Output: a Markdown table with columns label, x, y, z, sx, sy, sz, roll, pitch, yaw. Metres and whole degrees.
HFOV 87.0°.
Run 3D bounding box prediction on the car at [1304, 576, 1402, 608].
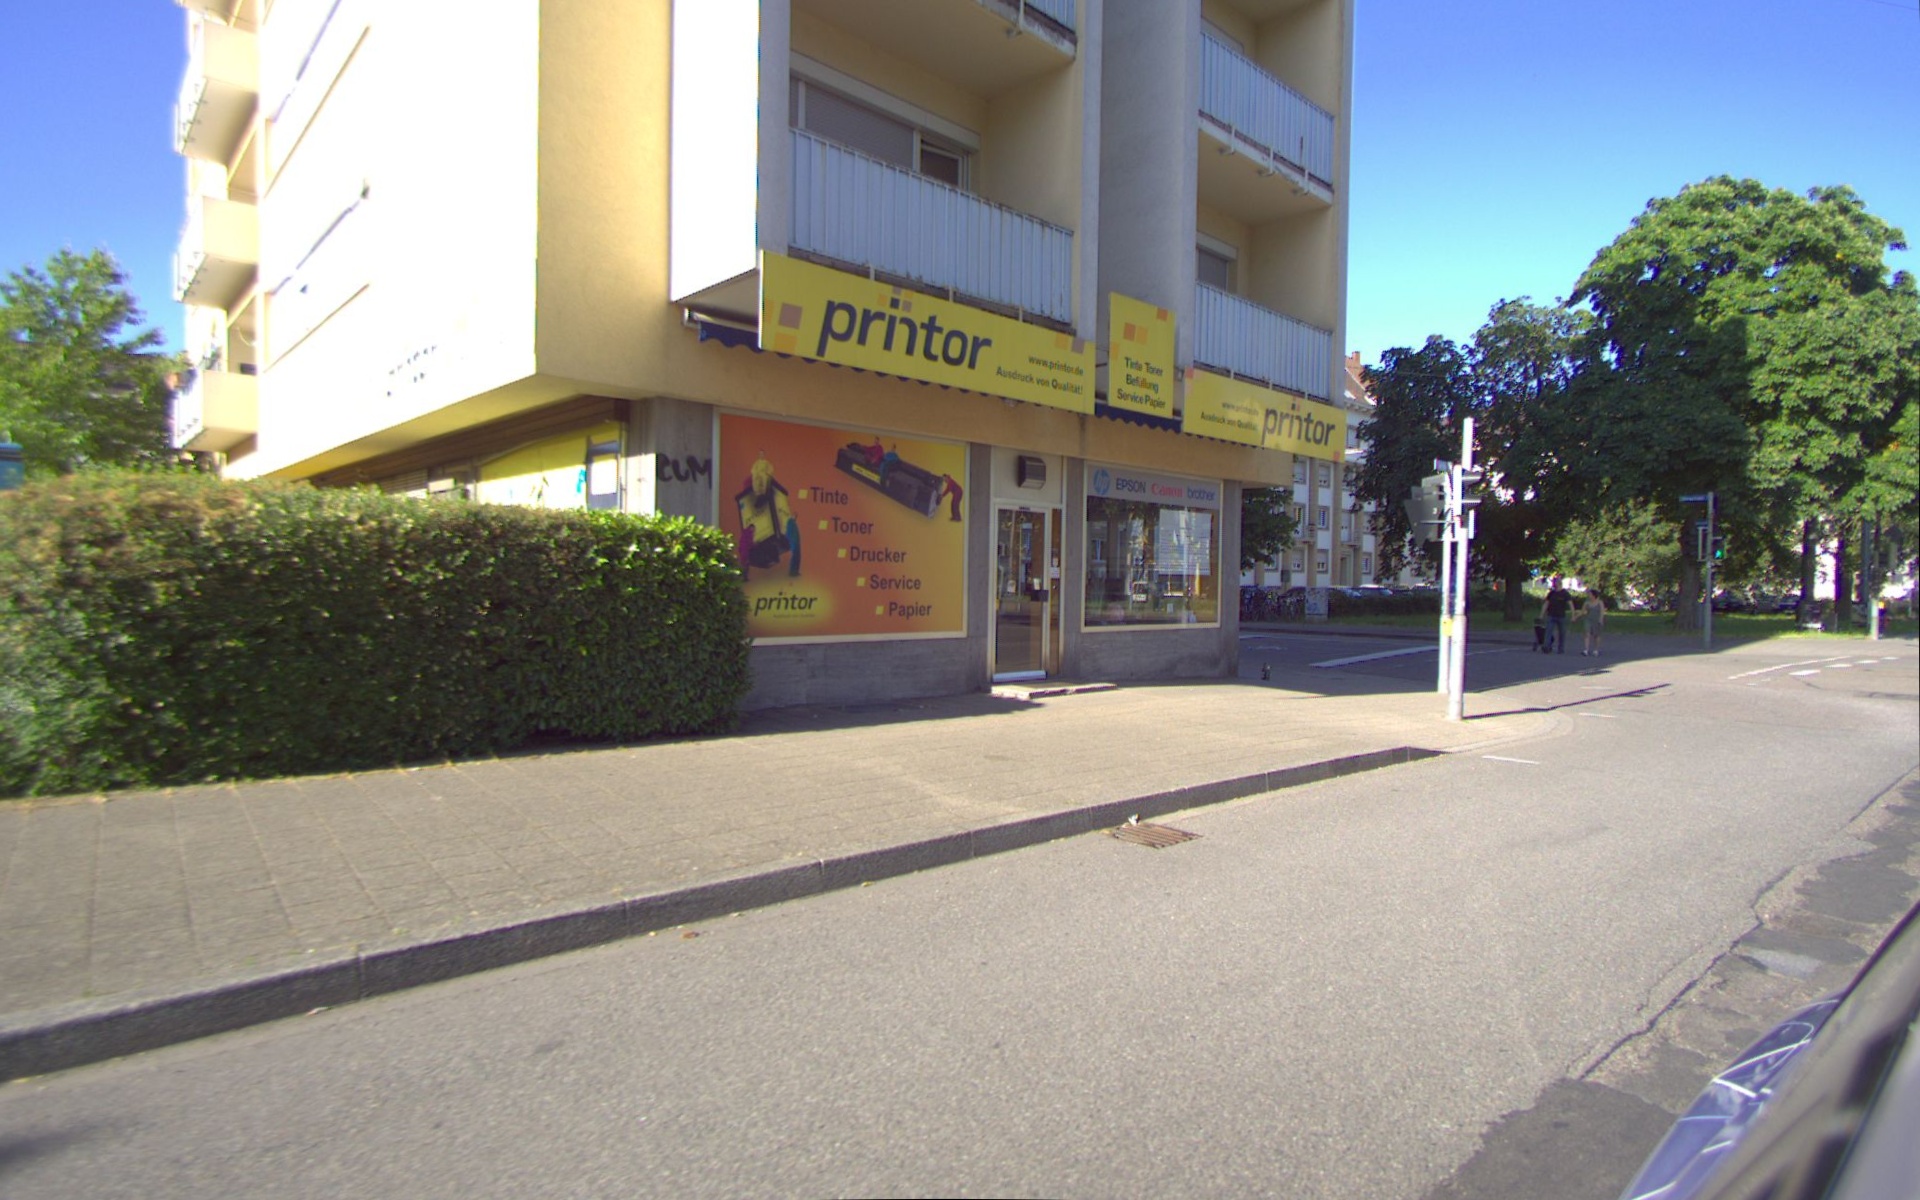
| label | x | y | z | sx | sy | sz | roll | pitch | yaw |
| --- | --- | --- | --- | --- | --- | --- | --- | --- | --- |
| car | 19.141 | -0.428 | 49.408 | 1.964 | 1.466 | 3.997 | 0 | 2 | -39 |

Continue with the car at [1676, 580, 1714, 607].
| label | x | y | z | sx | sy | sz | roll | pitch | yaw |
| --- | --- | --- | --- | --- | --- | --- | --- | --- | --- |
| car | 49.371 | -0.474 | 68.026 | 1.988 | 1.720 | 4.222 | 2 | 2 | 36 |

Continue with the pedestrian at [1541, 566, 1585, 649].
| label | x | y | z | sx | sy | sz | roll | pitch | yaw |
| --- | --- | --- | --- | --- | --- | --- | --- | --- | --- |
| pedestrian | 14.028 | 0.147 | 23.525 | 0.784 | 1.850 | 1.022 | 3 | 3 | 32 |

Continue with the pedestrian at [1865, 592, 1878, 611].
| label | x | y | z | sx | sy | sz | roll | pitch | yaw |
| --- | --- | --- | --- | --- | --- | --- | --- | --- | --- |
| pedestrian | 53.793 | 0.096 | 59.724 | 0.602 | 1.092 | 0.459 | 0 | 1 | -41 |

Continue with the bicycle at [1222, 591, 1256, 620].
| label | x | y | z | sx | sy | sz | roll | pitch | yaw |
| --- | --- | --- | --- | --- | --- | --- | --- | --- | --- |
| bicycle | 10.917 | 0.220 | 39.523 | 1.798 | 1.108 | 0.365 | 0 | 1 | -43 |

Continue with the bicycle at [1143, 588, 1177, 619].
| label | x | y | z | sx | sy | sz | roll | pitch | yaw |
| --- | --- | --- | --- | --- | --- | --- | --- | --- | --- |
| bicycle | 8.370 | 0.140 | 42.329 | 1.798 | 1.302 | 0.432 | 0 | 1 | -43 |

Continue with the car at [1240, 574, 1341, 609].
| label | x | y | z | sx | sy | sz | roll | pitch | yaw |
| --- | --- | --- | --- | --- | --- | --- | --- | --- | --- |
| car | 15.118 | -0.416 | 46.427 | 1.964 | 1.466 | 3.997 | 0 | 2 | -39 |

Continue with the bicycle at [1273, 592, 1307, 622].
| label | x | y | z | sx | sy | sz | roll | pitch | yaw |
| --- | --- | --- | --- | --- | --- | --- | --- | --- | --- |
| bicycle | 12.424 | 0.244 | 38.127 | 1.798 | 1.108 | 0.365 | 0 | 1 | -43 |

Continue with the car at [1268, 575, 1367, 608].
| label | x | y | z | sx | sy | sz | roll | pitch | yaw |
| --- | --- | --- | --- | --- | --- | --- | --- | --- | --- |
| car | 16.966 | -0.426 | 48.185 | 1.964 | 1.466 | 3.997 | 0 | 2 | -39 |

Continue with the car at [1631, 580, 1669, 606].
| label | x | y | z | sx | sy | sz | roll | pitch | yaw |
| --- | --- | --- | --- | --- | --- | --- | --- | --- | --- |
| car | 48.218 | -0.514 | 70.785 | 1.986 | 1.720 | 4.227 | 2 | 1 | 33 |

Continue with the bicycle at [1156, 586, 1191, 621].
| label | x | y | z | sx | sy | sz | roll | pitch | yaw |
| --- | --- | --- | --- | --- | --- | --- | --- | --- | --- |
| bicycle | 8.832 | 0.148 | 41.885 | 1.798 | 1.405 | 0.432 | 0 | 1 | -43 |

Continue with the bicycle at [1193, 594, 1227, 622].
| label | x | y | z | sx | sy | sz | roll | pitch | yaw |
| --- | --- | --- | --- | --- | --- | --- | --- | --- | --- |
| bicycle | 10.017 | 0.306 | 40.534 | 1.798 | 1.108 | 0.365 | 0 | 1 | -43 |

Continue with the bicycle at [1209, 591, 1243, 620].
| label | x | y | z | sx | sy | sz | roll | pitch | yaw |
| --- | --- | --- | --- | --- | --- | --- | --- | --- | --- |
| bicycle | 10.491 | 0.212 | 39.929 | 1.798 | 1.108 | 0.365 | 0 | 1 | -43 |

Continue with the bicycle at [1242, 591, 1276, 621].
| label | x | y | z | sx | sy | sz | roll | pitch | yaw |
| --- | --- | --- | --- | --- | --- | --- | --- | --- | --- |
| bicycle | 11.510 | 0.230 | 38.961 | 1.798 | 1.108 | 0.365 | 0 | 1 | -43 |

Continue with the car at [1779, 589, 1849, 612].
| label | x | y | z | sx | sy | sz | roll | pitch | yaw |
| --- | --- | --- | --- | --- | --- | --- | --- | --- | --- |
| car | 51.966 | 0.030 | 61.573 | 4.192 | 1.340 | 2.002 | 0 | 1 | -31 |

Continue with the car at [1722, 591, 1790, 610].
| label | x | y | z | sx | sy | sz | roll | pitch | yaw |
| --- | --- | --- | --- | --- | --- | --- | --- | --- | --- |
| car | 50.324 | 0.021 | 63.957 | 4.192 | 1.080 | 2.002 | 0 | 1 | -31 |

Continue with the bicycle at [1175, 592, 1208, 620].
| label | x | y | z | sx | sy | sz | roll | pitch | yaw |
| --- | --- | --- | --- | --- | --- | --- | --- | --- | --- |
| bicycle | 9.434 | 0.242 | 41.205 | 1.798 | 1.108 | 0.365 | 0 | 1 | -43 |

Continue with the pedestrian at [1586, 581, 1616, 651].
| label | x | y | z | sx | sy | sz | roll | pitch | yaw |
| --- | --- | --- | --- | --- | --- | --- | --- | --- | --- |
| pedestrian | 14.658 | 0.357 | 23.156 | 0.501 | 1.565 | 0.513 | 3 | 3 | 33 |

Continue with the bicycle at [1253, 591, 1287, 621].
| label | x | y | z | sx | sy | sz | roll | pitch | yaw |
| --- | --- | --- | --- | --- | --- | --- | --- | --- | --- |
| bicycle | 11.850 | 0.236 | 38.614 | 1.798 | 1.108 | 0.365 | 0 | 1 | -43 |

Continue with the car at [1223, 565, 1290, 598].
| label | x | y | z | sx | sy | sz | roll | pitch | yaw |
| --- | --- | --- | --- | --- | --- | --- | --- | --- | --- |
| car | 17.413 | -1.108 | 59.388 | 3.932 | 1.867 | 1.996 | 0 | 2 | -42 |
